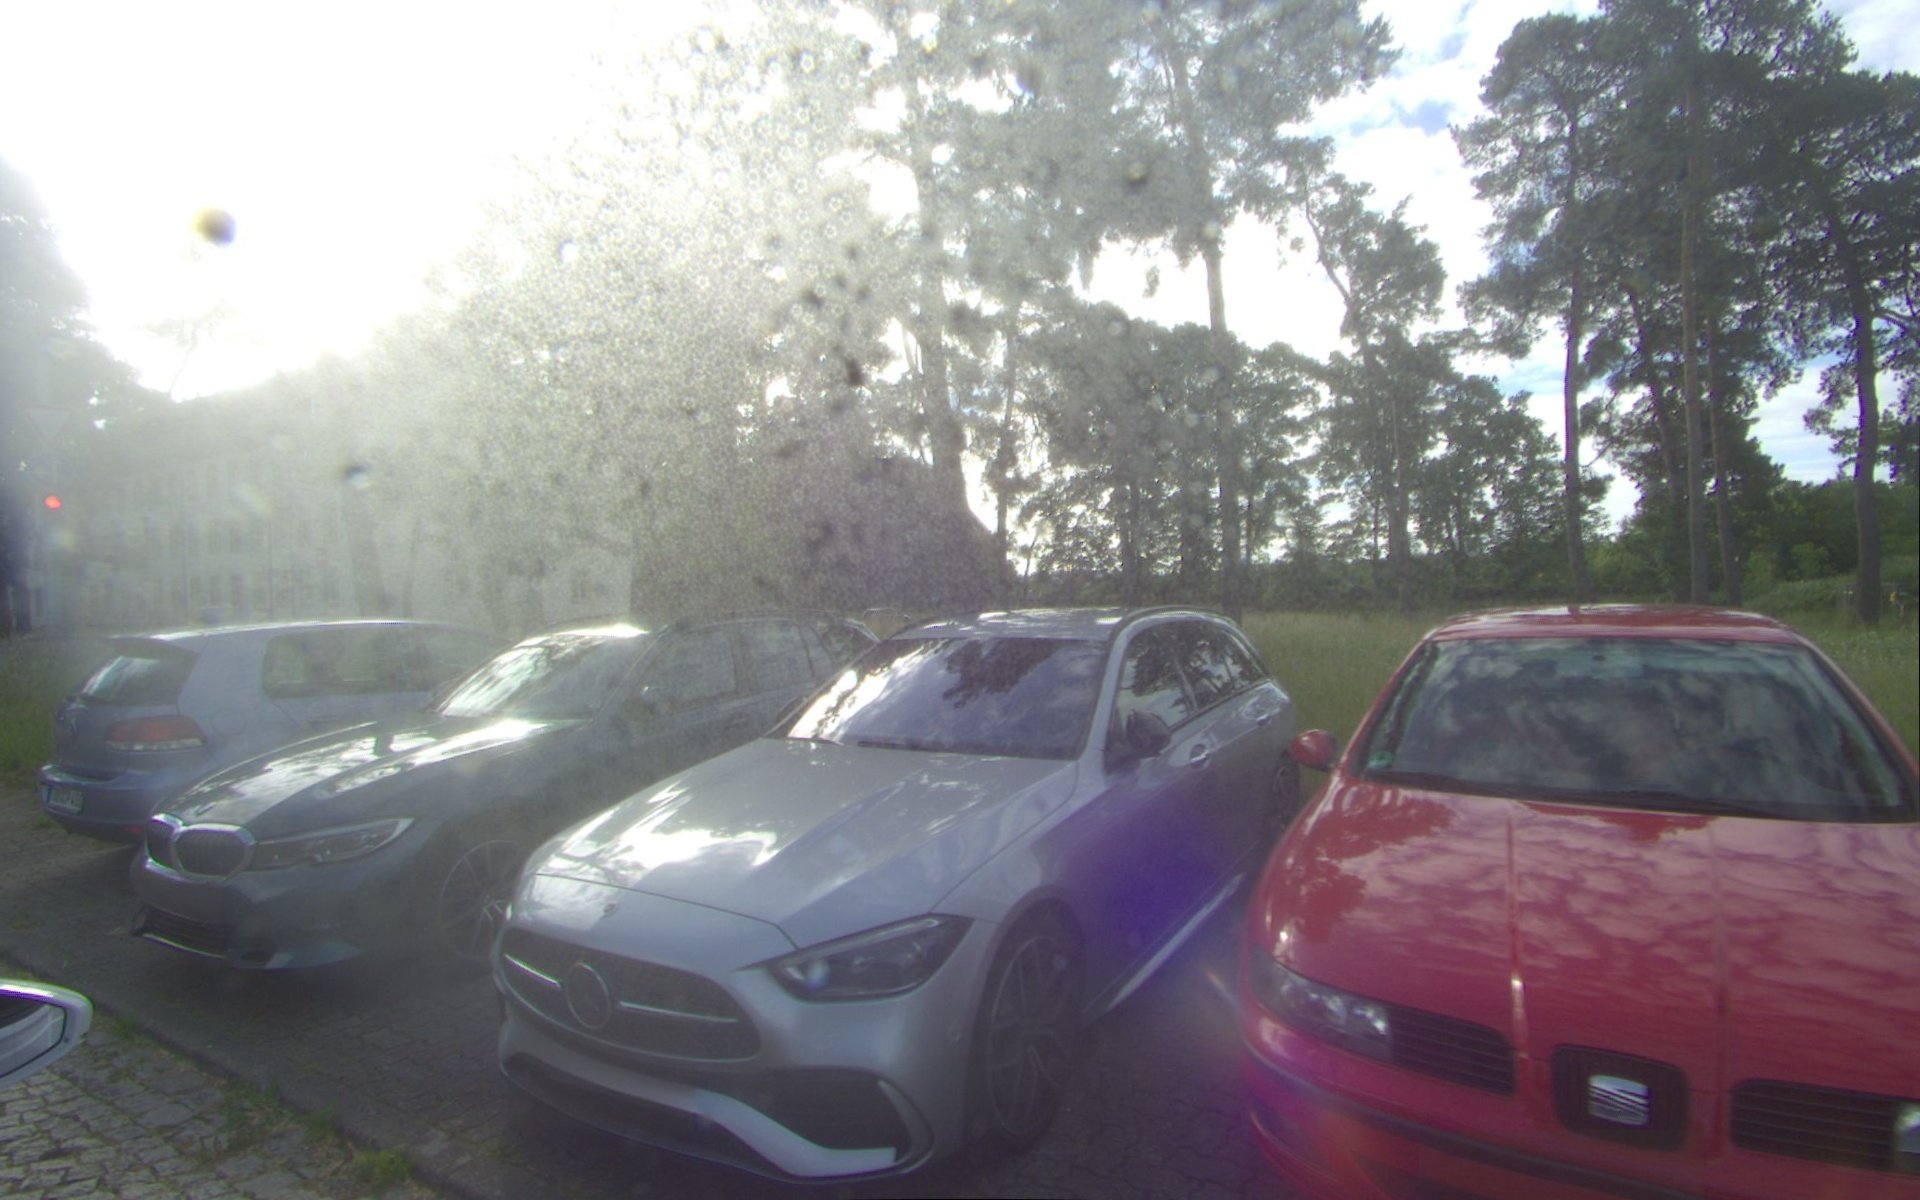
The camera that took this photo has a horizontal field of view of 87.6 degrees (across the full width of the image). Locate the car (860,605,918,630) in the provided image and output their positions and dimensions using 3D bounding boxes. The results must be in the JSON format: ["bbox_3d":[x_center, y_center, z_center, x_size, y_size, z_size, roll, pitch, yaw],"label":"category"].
[{"bbox_3d":[-4.940,1.190,69.166,3.923,1.622,1.999,-1,0,-5],"label":"car"}]

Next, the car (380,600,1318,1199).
[{"bbox_3d":[0.183,0.774,4.305,1.741,1.448,4.317,-1,1,31],"label":"car"}]

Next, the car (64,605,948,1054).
[{"bbox_3d":[-1.976,0.809,5.838,1.780,1.503,4.506,-1,0,30],"label":"car"}]

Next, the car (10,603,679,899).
[{"bbox_3d":[-4.085,0.807,7.315,1.618,1.490,3.834,-1,1,31],"label":"car"}]

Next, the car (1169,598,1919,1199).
[{"bbox_3d":[2.274,0.730,3.430,1.695,1.442,4.098,-1,0,33],"label":"car"}]

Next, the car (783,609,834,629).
[{"bbox_3d":[-11.279,1.459,74.579,1.541,1.416,3.981,-1,-2,32],"label":"car"}]
